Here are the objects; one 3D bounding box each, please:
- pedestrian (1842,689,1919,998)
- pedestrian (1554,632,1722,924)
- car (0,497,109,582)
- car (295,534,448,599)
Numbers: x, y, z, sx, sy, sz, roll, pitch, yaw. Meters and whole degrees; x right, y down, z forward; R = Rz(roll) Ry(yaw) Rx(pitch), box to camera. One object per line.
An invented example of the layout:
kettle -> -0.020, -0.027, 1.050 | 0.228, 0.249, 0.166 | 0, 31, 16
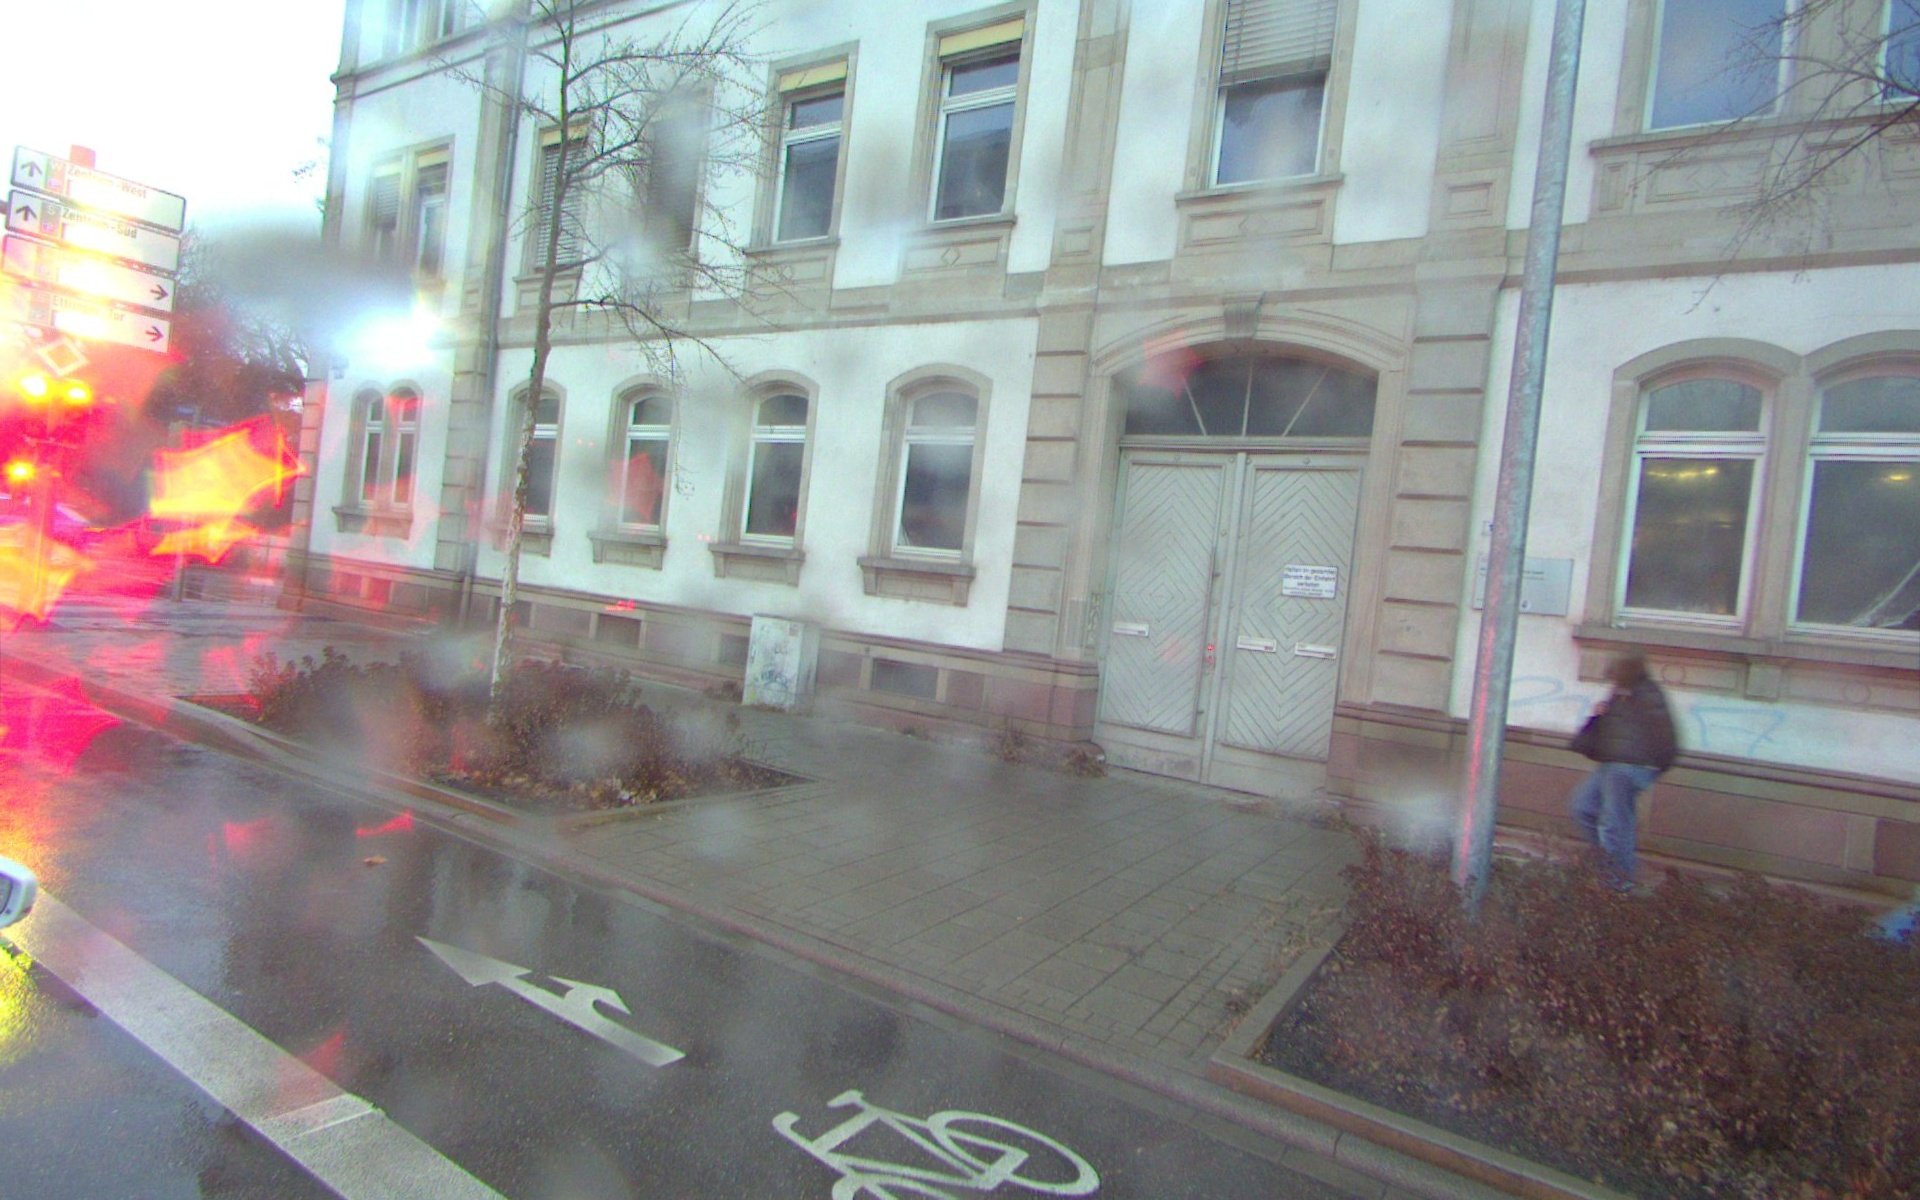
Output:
pedestrian -> 5.470, 1.316, 5.328 | 0.914, 1.564, 0.869 | 7, 1, 32
pedestrian -> 4.429, 1.111, 6.612 | 0.695, 1.694, 0.868 | 7, 1, 33
car -> -21.846, -1.516, 22.529 | 1.697, 1.640, 3.982 | 5, -4, 44
car -> -18.594, -1.031, 31.831 | 3.965, 1.417, 1.742 | 9, -3, -34
